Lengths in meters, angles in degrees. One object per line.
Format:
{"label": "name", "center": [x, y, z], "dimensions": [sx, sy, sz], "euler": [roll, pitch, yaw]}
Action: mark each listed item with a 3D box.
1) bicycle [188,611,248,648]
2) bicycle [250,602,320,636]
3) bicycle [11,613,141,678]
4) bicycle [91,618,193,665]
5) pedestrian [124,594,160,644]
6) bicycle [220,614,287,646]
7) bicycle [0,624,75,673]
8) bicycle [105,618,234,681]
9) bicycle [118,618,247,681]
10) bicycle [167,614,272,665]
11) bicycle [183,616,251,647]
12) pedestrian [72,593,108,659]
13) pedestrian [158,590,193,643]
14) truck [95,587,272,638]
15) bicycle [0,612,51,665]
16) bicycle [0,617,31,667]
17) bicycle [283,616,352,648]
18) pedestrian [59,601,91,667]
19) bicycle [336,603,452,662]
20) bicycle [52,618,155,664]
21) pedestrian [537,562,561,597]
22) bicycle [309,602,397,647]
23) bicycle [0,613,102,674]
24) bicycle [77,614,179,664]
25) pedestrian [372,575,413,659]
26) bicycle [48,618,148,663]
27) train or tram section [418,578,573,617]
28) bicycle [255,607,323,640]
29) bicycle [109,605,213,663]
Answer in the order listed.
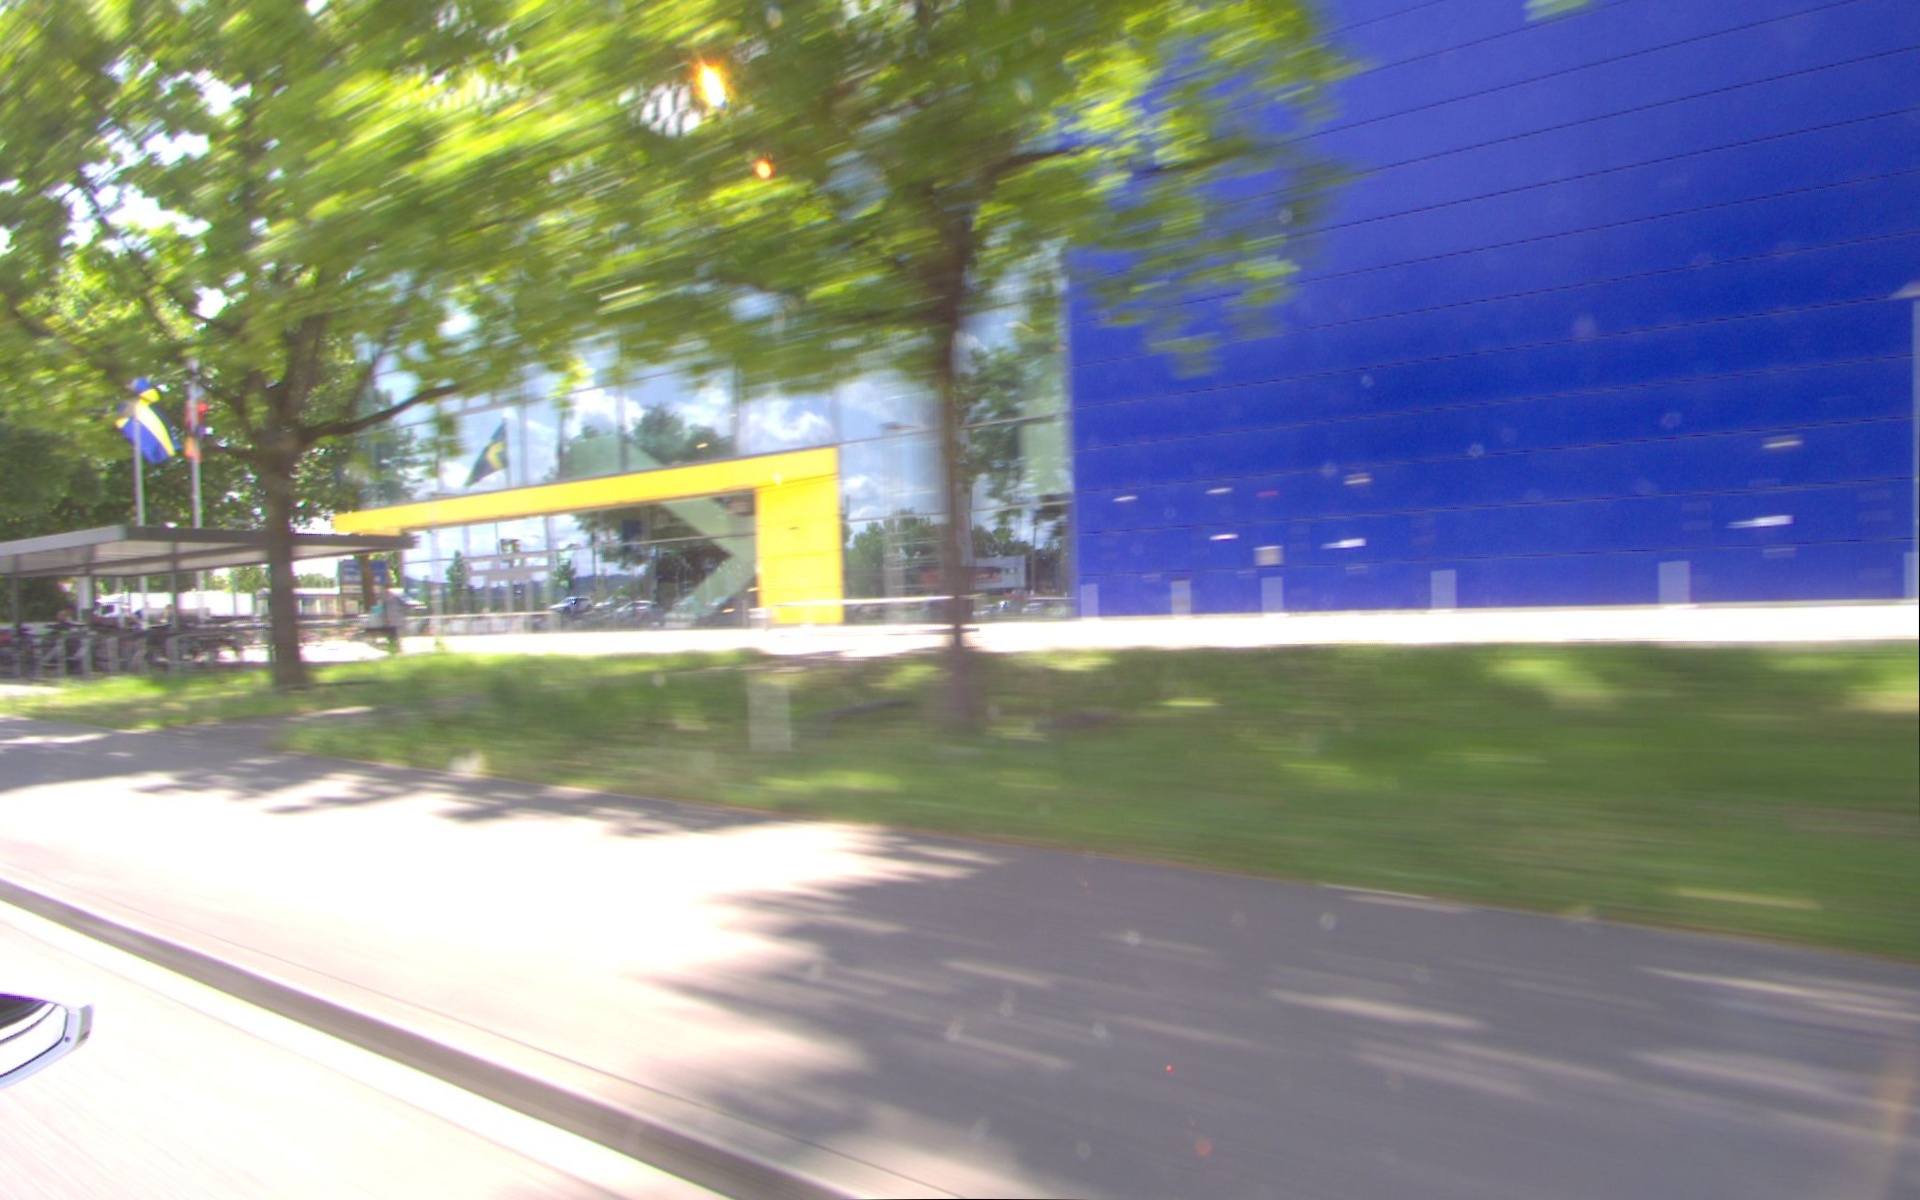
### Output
{"label": "bicycle", "center": [-25.555, 1.007, 34.502], "dimensions": [0.453, 1.173, 1.678], "euler": [-1, 1, 17]}
{"label": "bicycle", "center": [-21.640, 0.593, 32.128], "dimensions": [0.417, 1.008, 1.860], "euler": [-1, 1, 27]}
{"label": "bicycle", "center": [-17.885, 0.895, 20.306], "dimensions": [0.418, 1.186, 1.891], "euler": [0, 2, 33]}
{"label": "bicycle", "center": [-19.635, 0.975, 24.077], "dimensions": [0.417, 1.008, 1.860], "euler": [-2, 0, 27]}
{"label": "pedestrian", "center": [-32.237, 0.764, 39.468], "dimensions": [1.001, 1.927, 0.965], "euler": [-2, 0, -44]}
{"label": "bicycle", "center": [-24.113, 1.005, 34.200], "dimensions": [0.457, 1.008, 1.860], "euler": [0, 1, 27]}
{"label": "bicycle", "center": [-20.931, 1.072, 22.234], "dimensions": [0.417, 1.008, 1.860], "euler": [0, 1, 27]}
{"label": "bicycle", "center": [-14.819, 0.903, 18.827], "dimensions": [0.417, 1.008, 1.859], "euler": [0, 2, 27]}
{"label": "bicycle", "center": [-14.393, 0.892, 18.599], "dimensions": [0.417, 1.008, 1.860], "euler": [0, 2, 27]}
{"label": "bicycle", "center": [-16.684, 0.876, 22.619], "dimensions": [0.417, 1.008, 1.860], "euler": [-2, 2, 27]}
{"label": "bicycle", "center": [-26.219, 1.110, 35.366], "dimensions": [0.418, 1.008, 1.857], "euler": [0, 1, 33]}
{"label": "pedestrian", "center": [-22.521, 0.664, 25.932], "dimensions": [0.471, 1.685, 0.543], "euler": [0, 1, 30]}
{"label": "pedestrian", "center": [-31.881, 0.683, 40.682], "dimensions": [1.001, 2.099, 0.965], "euler": [-2, 0, -44]}
{"label": "truck", "center": [-67.261, 1.011, 87.238], "dimensions": [2.909, 4.159, 11.934], "euler": [0, 0, 32]}
{"label": "bicycle", "center": [-22.662, 0.927, 23.530], "dimensions": [0.417, 1.203, 1.860], "euler": [0, 2, 27]}
{"label": "bicycle", "center": [-23.766, 1.050, 24.215], "dimensions": [0.417, 1.203, 1.860], "euler": [0, 1, 27]}
{"label": "bicycle", "center": [-20.275, 0.990, 31.637], "dimensions": [0.417, 0.894, 1.860], "euler": [-1, 1, 27]}
{"label": "pedestrian", "center": [-23.284, 0.884, 26.355], "dimensions": [0.540, 1.685, 0.541], "euler": [0, 2, 43]}
{"label": "bicycle", "center": [-11.838, 0.668, 21.011], "dimensions": [1.980, 1.123, 0.575], "euler": [-3, 2, -21]}
{"label": "bicycle", "center": [-20.901, 0.979, 24.478], "dimensions": [0.417, 1.008, 1.860], "euler": [0, 1, 27]}
{"label": "pedestrian", "center": [-20.334, -1.009, 49.564], "dimensions": [0.789, 1.685, 0.703], "euler": [-2, 0, 2]}
{"label": "bicycle", "center": [-18.324, 0.730, 30.290], "dimensions": [0.713, 1.246, 2.128], "euler": [0, 2, 41]}
{"label": "bicycle", "center": [-19.710, 0.916, 21.529], "dimensions": [0.417, 1.203, 1.860], "euler": [0, 2, 27]}
{"label": "bicycle", "center": [-20.207, 0.930, 24.369], "dimensions": [0.417, 1.131, 1.860], "euler": [-1, 1, 27]}
{"label": "pedestrian", "center": [-12.115, 0.356, 21.379], "dimensions": [0.624, 1.744, 0.523], "euler": [-3, 1, -23]}
{"label": "bicycle", "center": [-21.807, 1.008, 25.368], "dimensions": [0.418, 1.048, 1.857], "euler": [0, 1, 33]}
{"label": "train or tram section", "center": [-42.502, -0.181, 92.550], "dimensions": [3.000, 3.228, 14.042], "euler": [-1, -1, 28]}
{"label": "bicycle", "center": [-22.194, 0.765, 33.168], "dimensions": [0.417, 1.008, 1.860], "euler": [-2, 1, 27]}
{"label": "bicycle", "center": [-18.637, 0.761, 23.395], "dimensions": [0.417, 1.248, 1.860], "euler": [0, 2, 27]}
